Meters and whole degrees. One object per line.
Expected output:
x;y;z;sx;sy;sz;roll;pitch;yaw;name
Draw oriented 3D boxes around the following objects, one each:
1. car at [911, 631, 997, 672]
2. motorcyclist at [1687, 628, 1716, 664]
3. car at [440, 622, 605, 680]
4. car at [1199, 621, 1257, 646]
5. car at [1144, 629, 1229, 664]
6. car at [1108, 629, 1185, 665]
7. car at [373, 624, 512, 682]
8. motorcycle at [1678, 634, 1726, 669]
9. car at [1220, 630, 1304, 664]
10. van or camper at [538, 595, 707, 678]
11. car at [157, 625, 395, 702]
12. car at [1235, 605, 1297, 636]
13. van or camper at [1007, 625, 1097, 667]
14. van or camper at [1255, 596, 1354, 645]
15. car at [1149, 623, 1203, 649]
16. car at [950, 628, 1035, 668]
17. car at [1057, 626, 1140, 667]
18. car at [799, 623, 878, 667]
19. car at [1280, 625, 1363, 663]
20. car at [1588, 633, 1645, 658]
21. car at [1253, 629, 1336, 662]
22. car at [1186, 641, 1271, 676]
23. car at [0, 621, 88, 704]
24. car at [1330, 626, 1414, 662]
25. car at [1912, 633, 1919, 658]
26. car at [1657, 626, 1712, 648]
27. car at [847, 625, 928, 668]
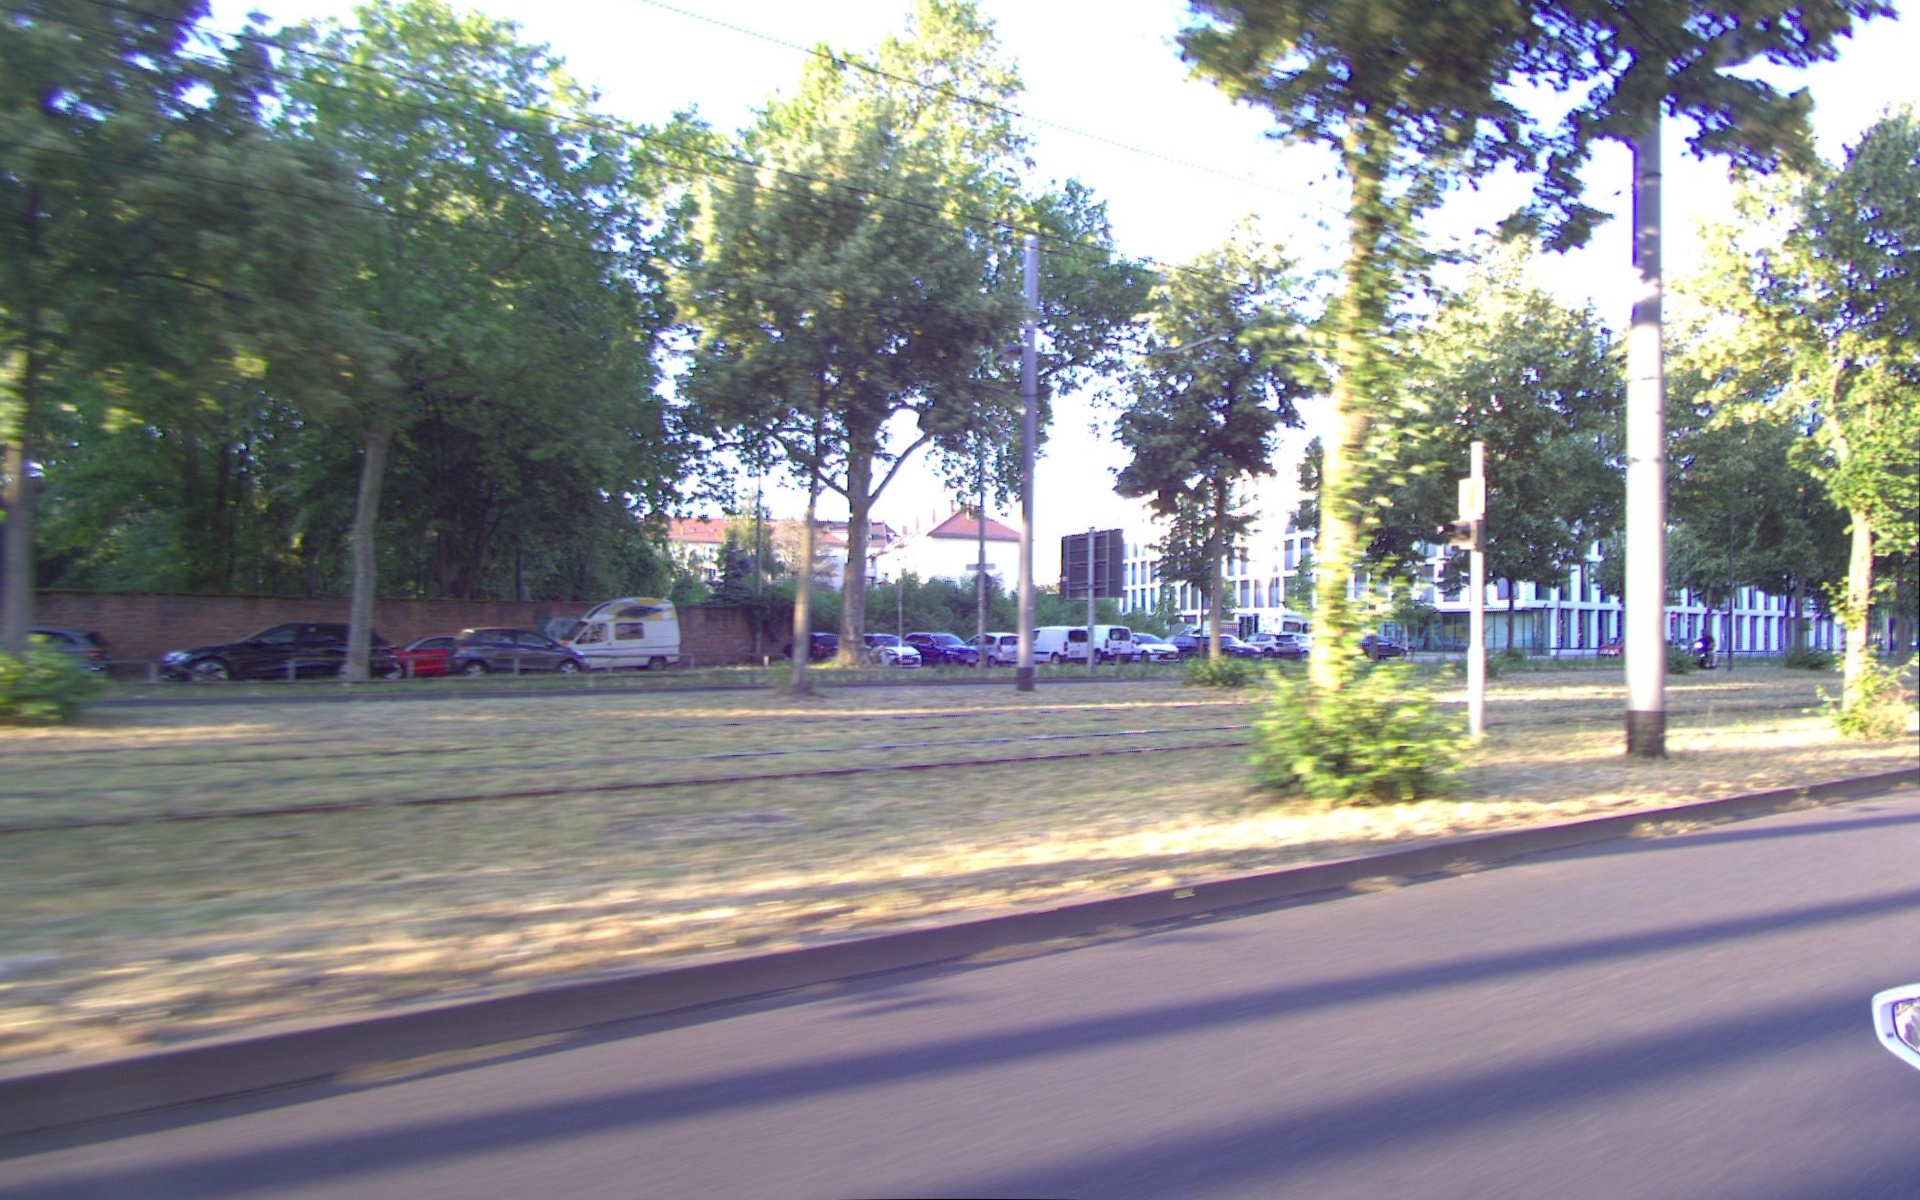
-0.291;2.168;43.351;1.902;1.661;3.964;1;-2;-33;car
29.261;1.797;39.638;0.795;1.394;0.677;1;-2;-31;motorcyclist
-12.336;1.405;28.408;3.962;1.505;1.980;2;-2;-36;car
20.135;2.514;75.504;3.949;1.835;1.909;1;-1;-27;car
11.294;2.304;50.264;1.902;1.661;3.964;1;-2;-33;car
9.072;2.272;49.159;1.895;1.661;3.978;1;-1;-23;car
-17.038;1.711;33.089;3.955;1.773;1.983;1;-2;-31;car
29.311;2.012;39.668;2.318;1.354;0.678;1;-2;-32;motorcycle
15.800;2.419;52.754;1.902;1.661;3.964;1;-2;-33;car
-12.063;1.302;36.082;5.434;2.771;2.073;1;-2;-32;van or camper
-16.863;1.529;25.103;4.736;1.773;1.983;1;-2;-31;car
21.033;1.406;68.994;3.953;2.040;1.984;1;-2;-30;car
4.203;2.082;46.285;1.984;1.815;3.954;1;-2;-40;van or camper
22.773;1.381;66.421;6.181;3.126;2.701;1;-1;-27;van or camper
17.295;2.892;80.424;3.953;2.040;1.984;1;-2;-30;car
1.421;2.106;45.028;1.902;1.661;3.964;1;-2;-33;car
6.581;2.193;48.139;1.988;1.869;3.969;1;-2;-29;car
-4.947;1.775;40.531;1.898;1.661;3.972;1;-2;-28;car
20.082;2.401;55.928;1.979;2.040;3.964;1;-2;-33;car
44.024;3.016;67.366;3.450;1.602;1.852;1;-1;-30;car
17.918;2.404;53.942;1.902;1.661;3.964;1;-2;-33;car
13.723;2.956;51.540;1.902;1.661;3.964;1;-2;-33;car
-22.043;1.336;21.927;4.104;1.773;1.988;1;-2;-26;car
23.747;2.521;57.861;4.876;2.040;1.983;1;-2;-31;car
61.148;2.808;62.349;4.238;1.528;1.909;1;-2;-31;car
52.346;2.663;72.596;3.739;1.602;1.852;1;-1;-30;car
-3.059;1.882;41.640;1.898;1.661;3.971;1;-2;-28;car
